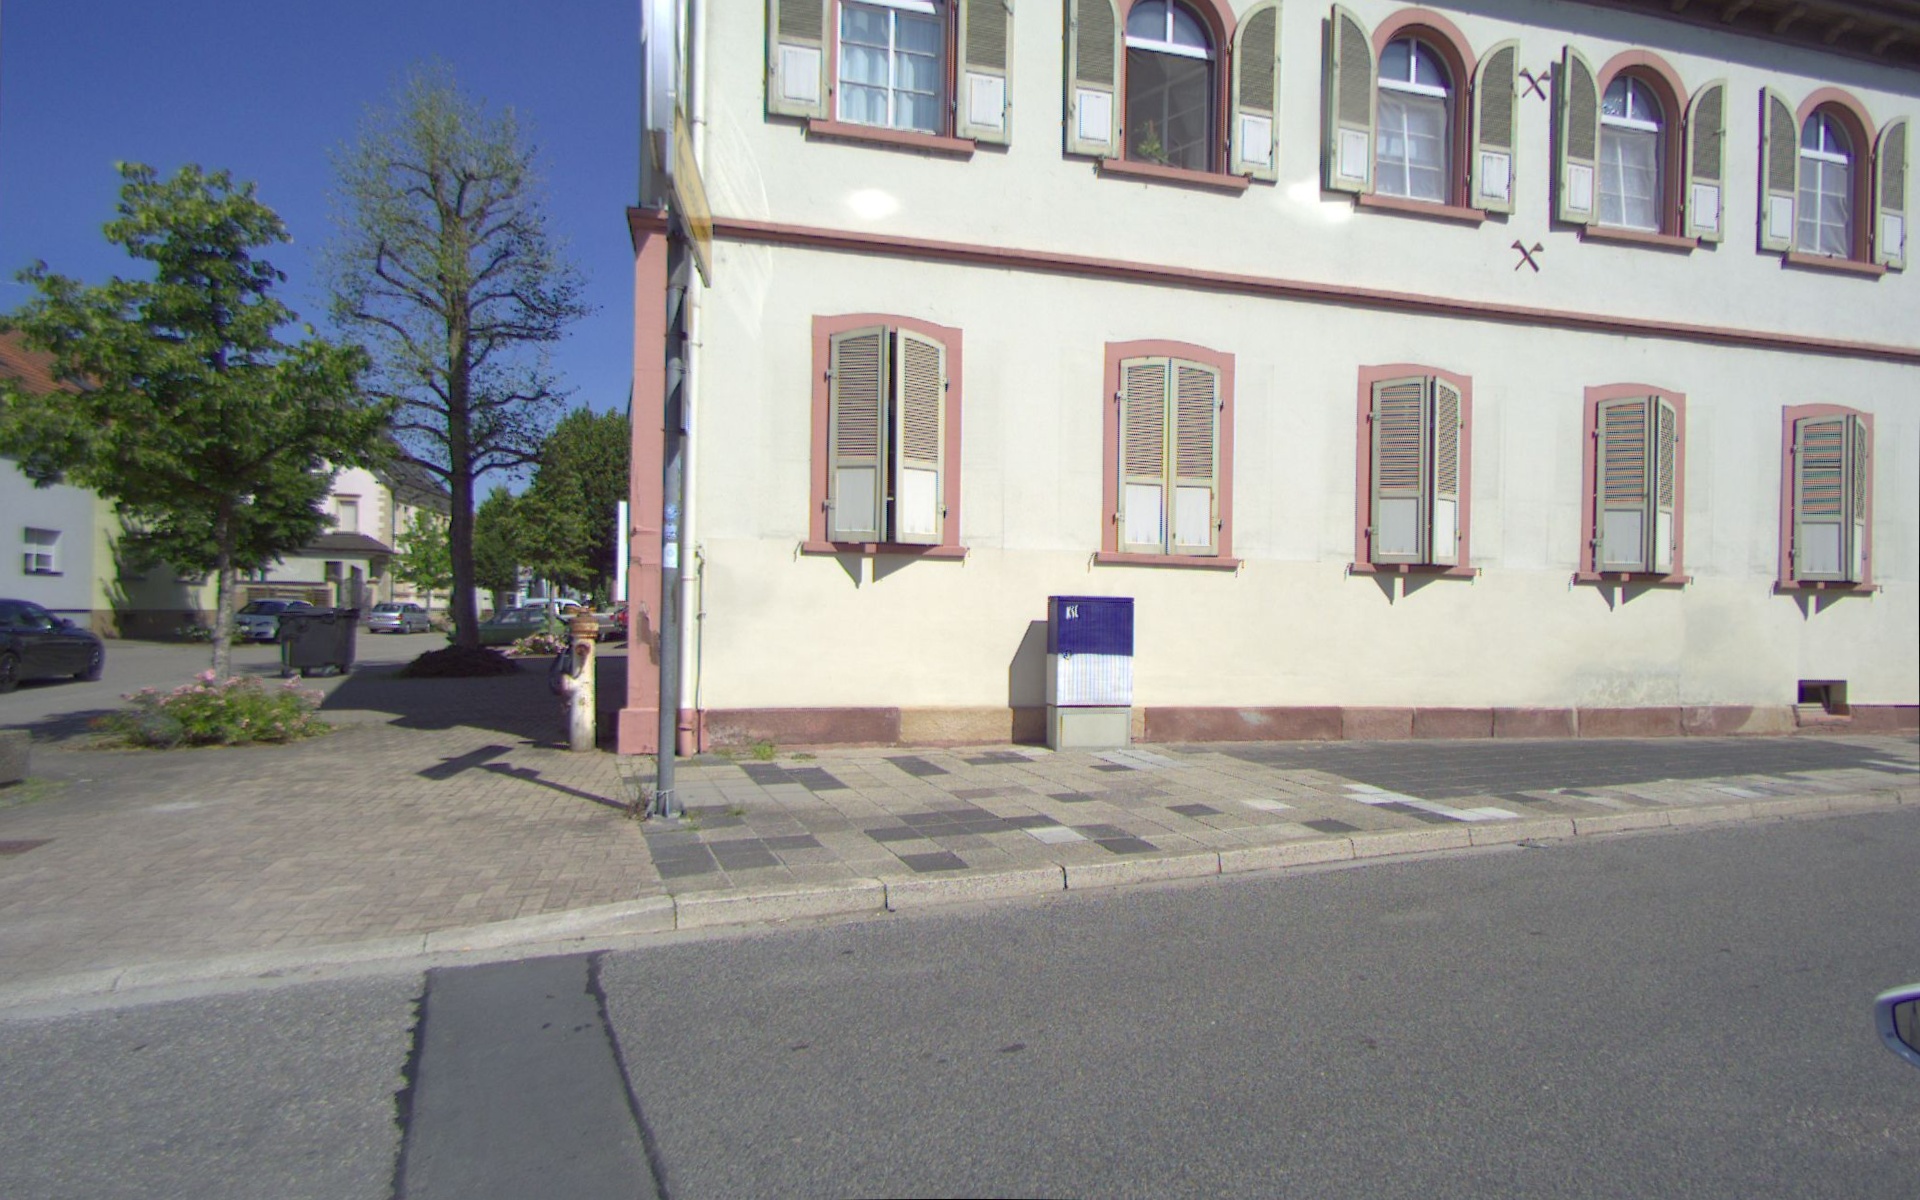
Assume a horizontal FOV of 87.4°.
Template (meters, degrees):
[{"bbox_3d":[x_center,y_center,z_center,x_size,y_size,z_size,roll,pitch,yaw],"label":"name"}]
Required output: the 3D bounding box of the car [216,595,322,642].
[{"bbox_3d":[-25.311,0.657,36.949,1.967,1.595,3.987,1,0,-15],"label":"car"}]

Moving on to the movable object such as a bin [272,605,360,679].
[{"bbox_3d":[-12.223,0.789,19.104,1.170,1.356,0.787,1,0,-11],"label":"movable object such as a bin"}]

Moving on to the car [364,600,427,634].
[{"bbox_3d":[-26.983,0.790,48.130,1.970,1.483,3.981,2,-1,-21],"label":"car"}]

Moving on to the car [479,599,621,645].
[{"bbox_3d":[-15.423,0.839,38.060,4.738,1.645,1.994,1,-1,-15],"label":"car"}]

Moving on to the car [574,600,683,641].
[{"bbox_3d":[-13.579,0.842,41.403,4.094,1.589,1.994,1,-1,-14],"label":"car"}]

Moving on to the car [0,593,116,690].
[{"bbox_3d":[-15.397,0.609,16.033,1.717,1.394,4.245,2,-2,-23],"label":"car"}]

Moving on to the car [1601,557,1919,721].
[{"bbox_3d":[13.505,0.535,16.380,2.085,2.226,5.180,1,0,-12],"label":"car"}]

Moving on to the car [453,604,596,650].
[{"bbox_3d":[-13.792,0.853,32.019,3.870,1.362,1.994,1,-1,-14],"label":"car"}]

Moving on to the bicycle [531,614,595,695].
[{"bbox_3d":[-6.062,0.803,15.407,0.584,1.151,1.744,1,0,-11],"label":"bicycle"}]
